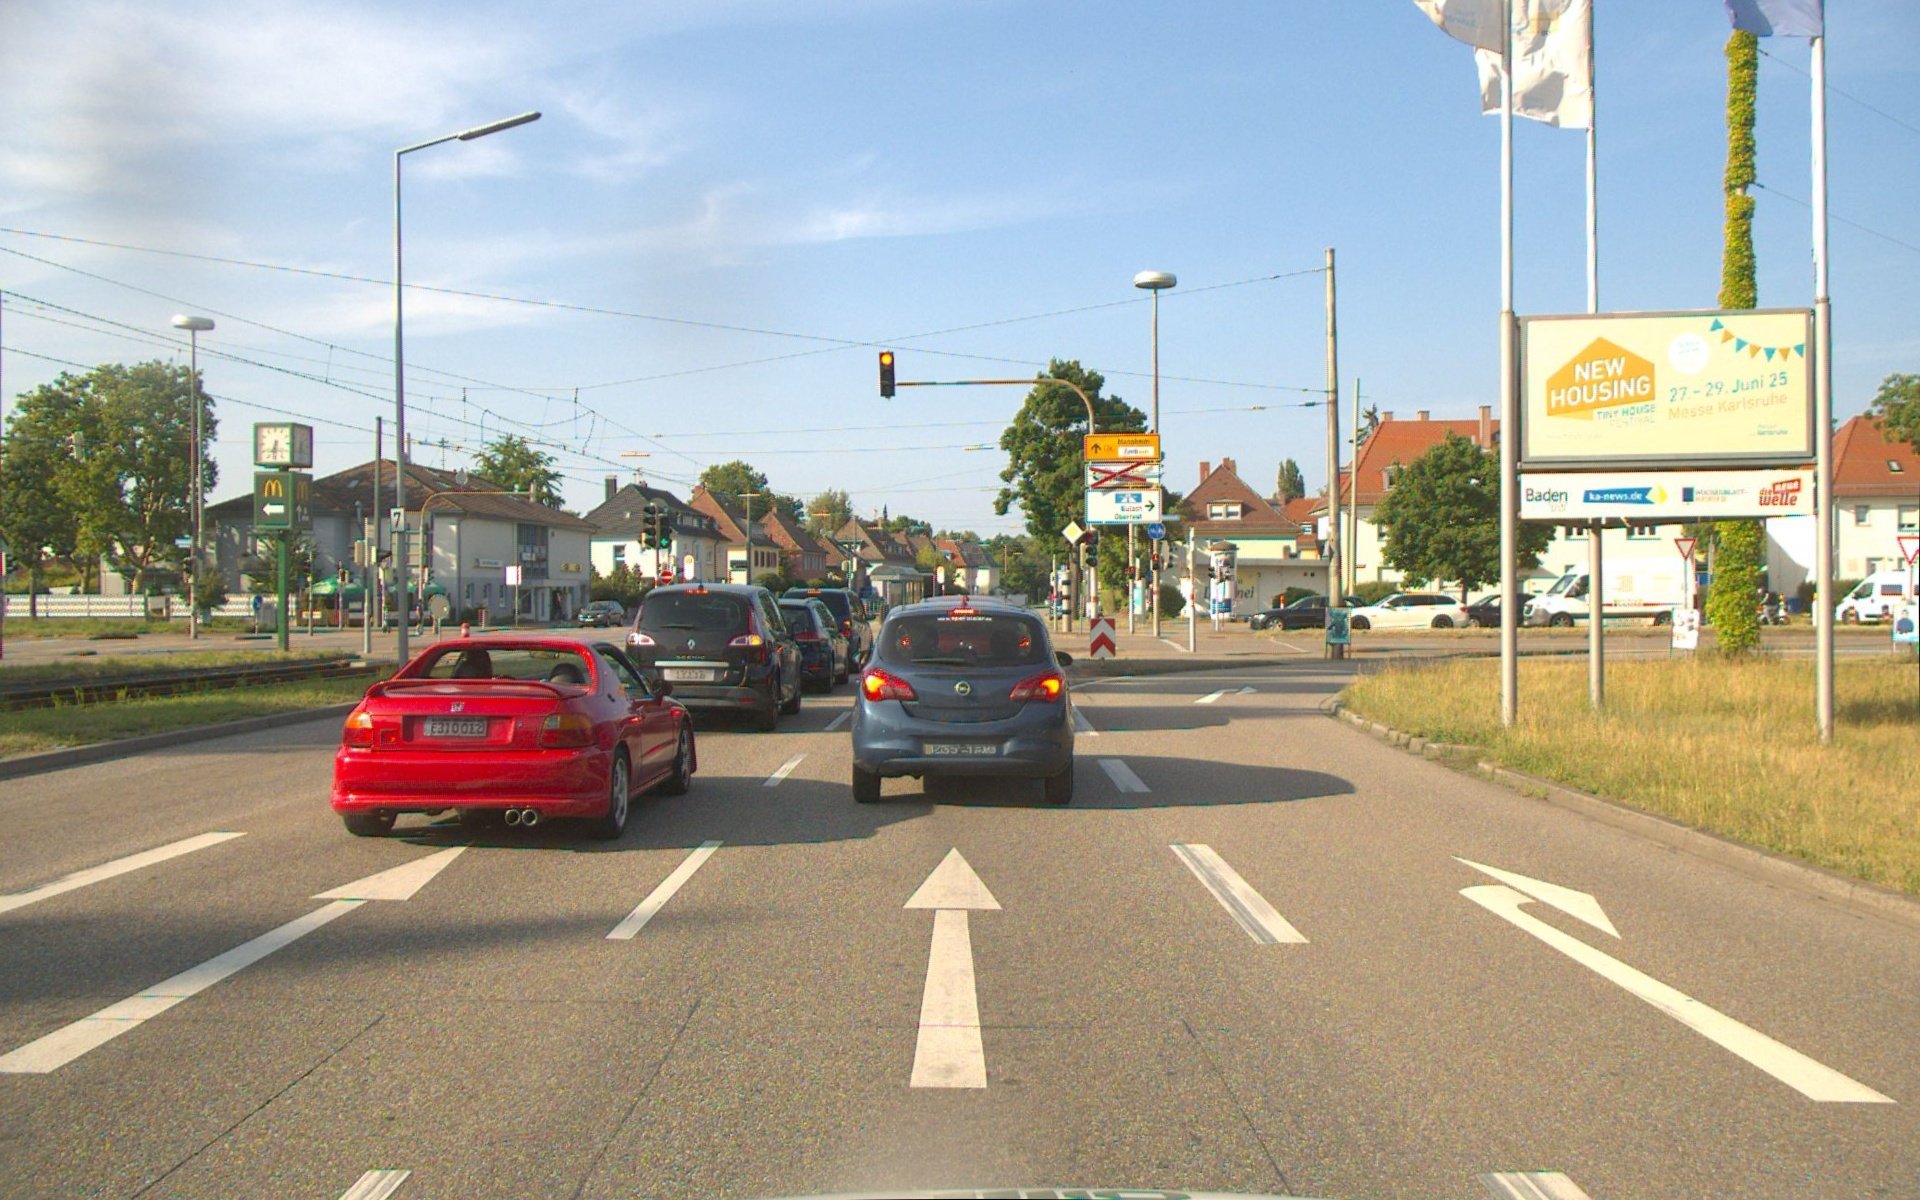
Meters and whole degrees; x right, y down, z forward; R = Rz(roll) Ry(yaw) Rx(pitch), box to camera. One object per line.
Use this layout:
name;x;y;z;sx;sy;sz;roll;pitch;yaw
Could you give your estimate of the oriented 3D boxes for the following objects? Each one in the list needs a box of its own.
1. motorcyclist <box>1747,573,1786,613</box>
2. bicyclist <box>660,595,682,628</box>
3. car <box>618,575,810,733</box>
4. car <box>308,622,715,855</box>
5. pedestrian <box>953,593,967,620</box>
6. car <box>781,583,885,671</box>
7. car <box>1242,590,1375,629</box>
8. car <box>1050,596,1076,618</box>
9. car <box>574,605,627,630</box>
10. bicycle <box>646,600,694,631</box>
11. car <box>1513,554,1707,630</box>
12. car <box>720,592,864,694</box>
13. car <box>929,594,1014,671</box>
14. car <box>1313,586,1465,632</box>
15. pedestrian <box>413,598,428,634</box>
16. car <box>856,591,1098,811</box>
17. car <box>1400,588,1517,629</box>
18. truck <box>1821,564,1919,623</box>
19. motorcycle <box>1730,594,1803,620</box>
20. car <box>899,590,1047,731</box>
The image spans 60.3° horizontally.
motorcyclist;28.207;-0.231;57.875;1.043;1.375;0.680;0;0;1
bicyclist;-13.129;0.538;75.165;0.867;1.456;1.135;1;-1;-7
car;-2.823;0.571;19.799;1.727;1.700;4.084;0;0;-1
car;-2.863;0.822;11.421;1.695;1.227;3.847;1;0;1
pedestrian;0.018;0.365;95.382;0.737;1.525;0.827;1;-1;5
car;-2.568;0.516;34.432;1.475;1.680;4.746;-1;0;4
car;13.206;0.356;62.867;4.723;1.436;1.716;-1;0;3
car;6.689;0.471;107.686;1.639;1.422;4.001;1;-1;3
car;-20.530;1.003;94.609;1.628;1.369;4.080;-1;-1;8
bicycle;-13.178;0.695;75.166;2.034;1.371;1.107;1;-1;-7
car;23.085;-0.273;58.907;6.078;2.629;2.001;0;0;2
car;-2.660;0.638;27.175;1.664;1.534;4.555;0;0;3
car;0.229;0.632;34.008;1.622;1.468;4.014;-1;0;0
car;15.305;0.322;59.180;4.988;1.590;1.841;-1;0;3
pedestrian;-24.794;0.743;76.032;0.501;1.627;0.539;0;0;-1
car;0.104;0.703;13.815;1.706;1.532;4.222;0;0;-1
car;18.794;0.309;62.459;3.903;1.478;1.716;-1;0;3
truck;42.057;-0.322;73.698;2.248;2.568;6.287;-1;1;-32
motorcycle;28.215;0.238;57.878;2.224;0.882;0.691;0;0;1
car;0.143;0.684;20.891;1.671;1.579;3.977;-1;0;0
